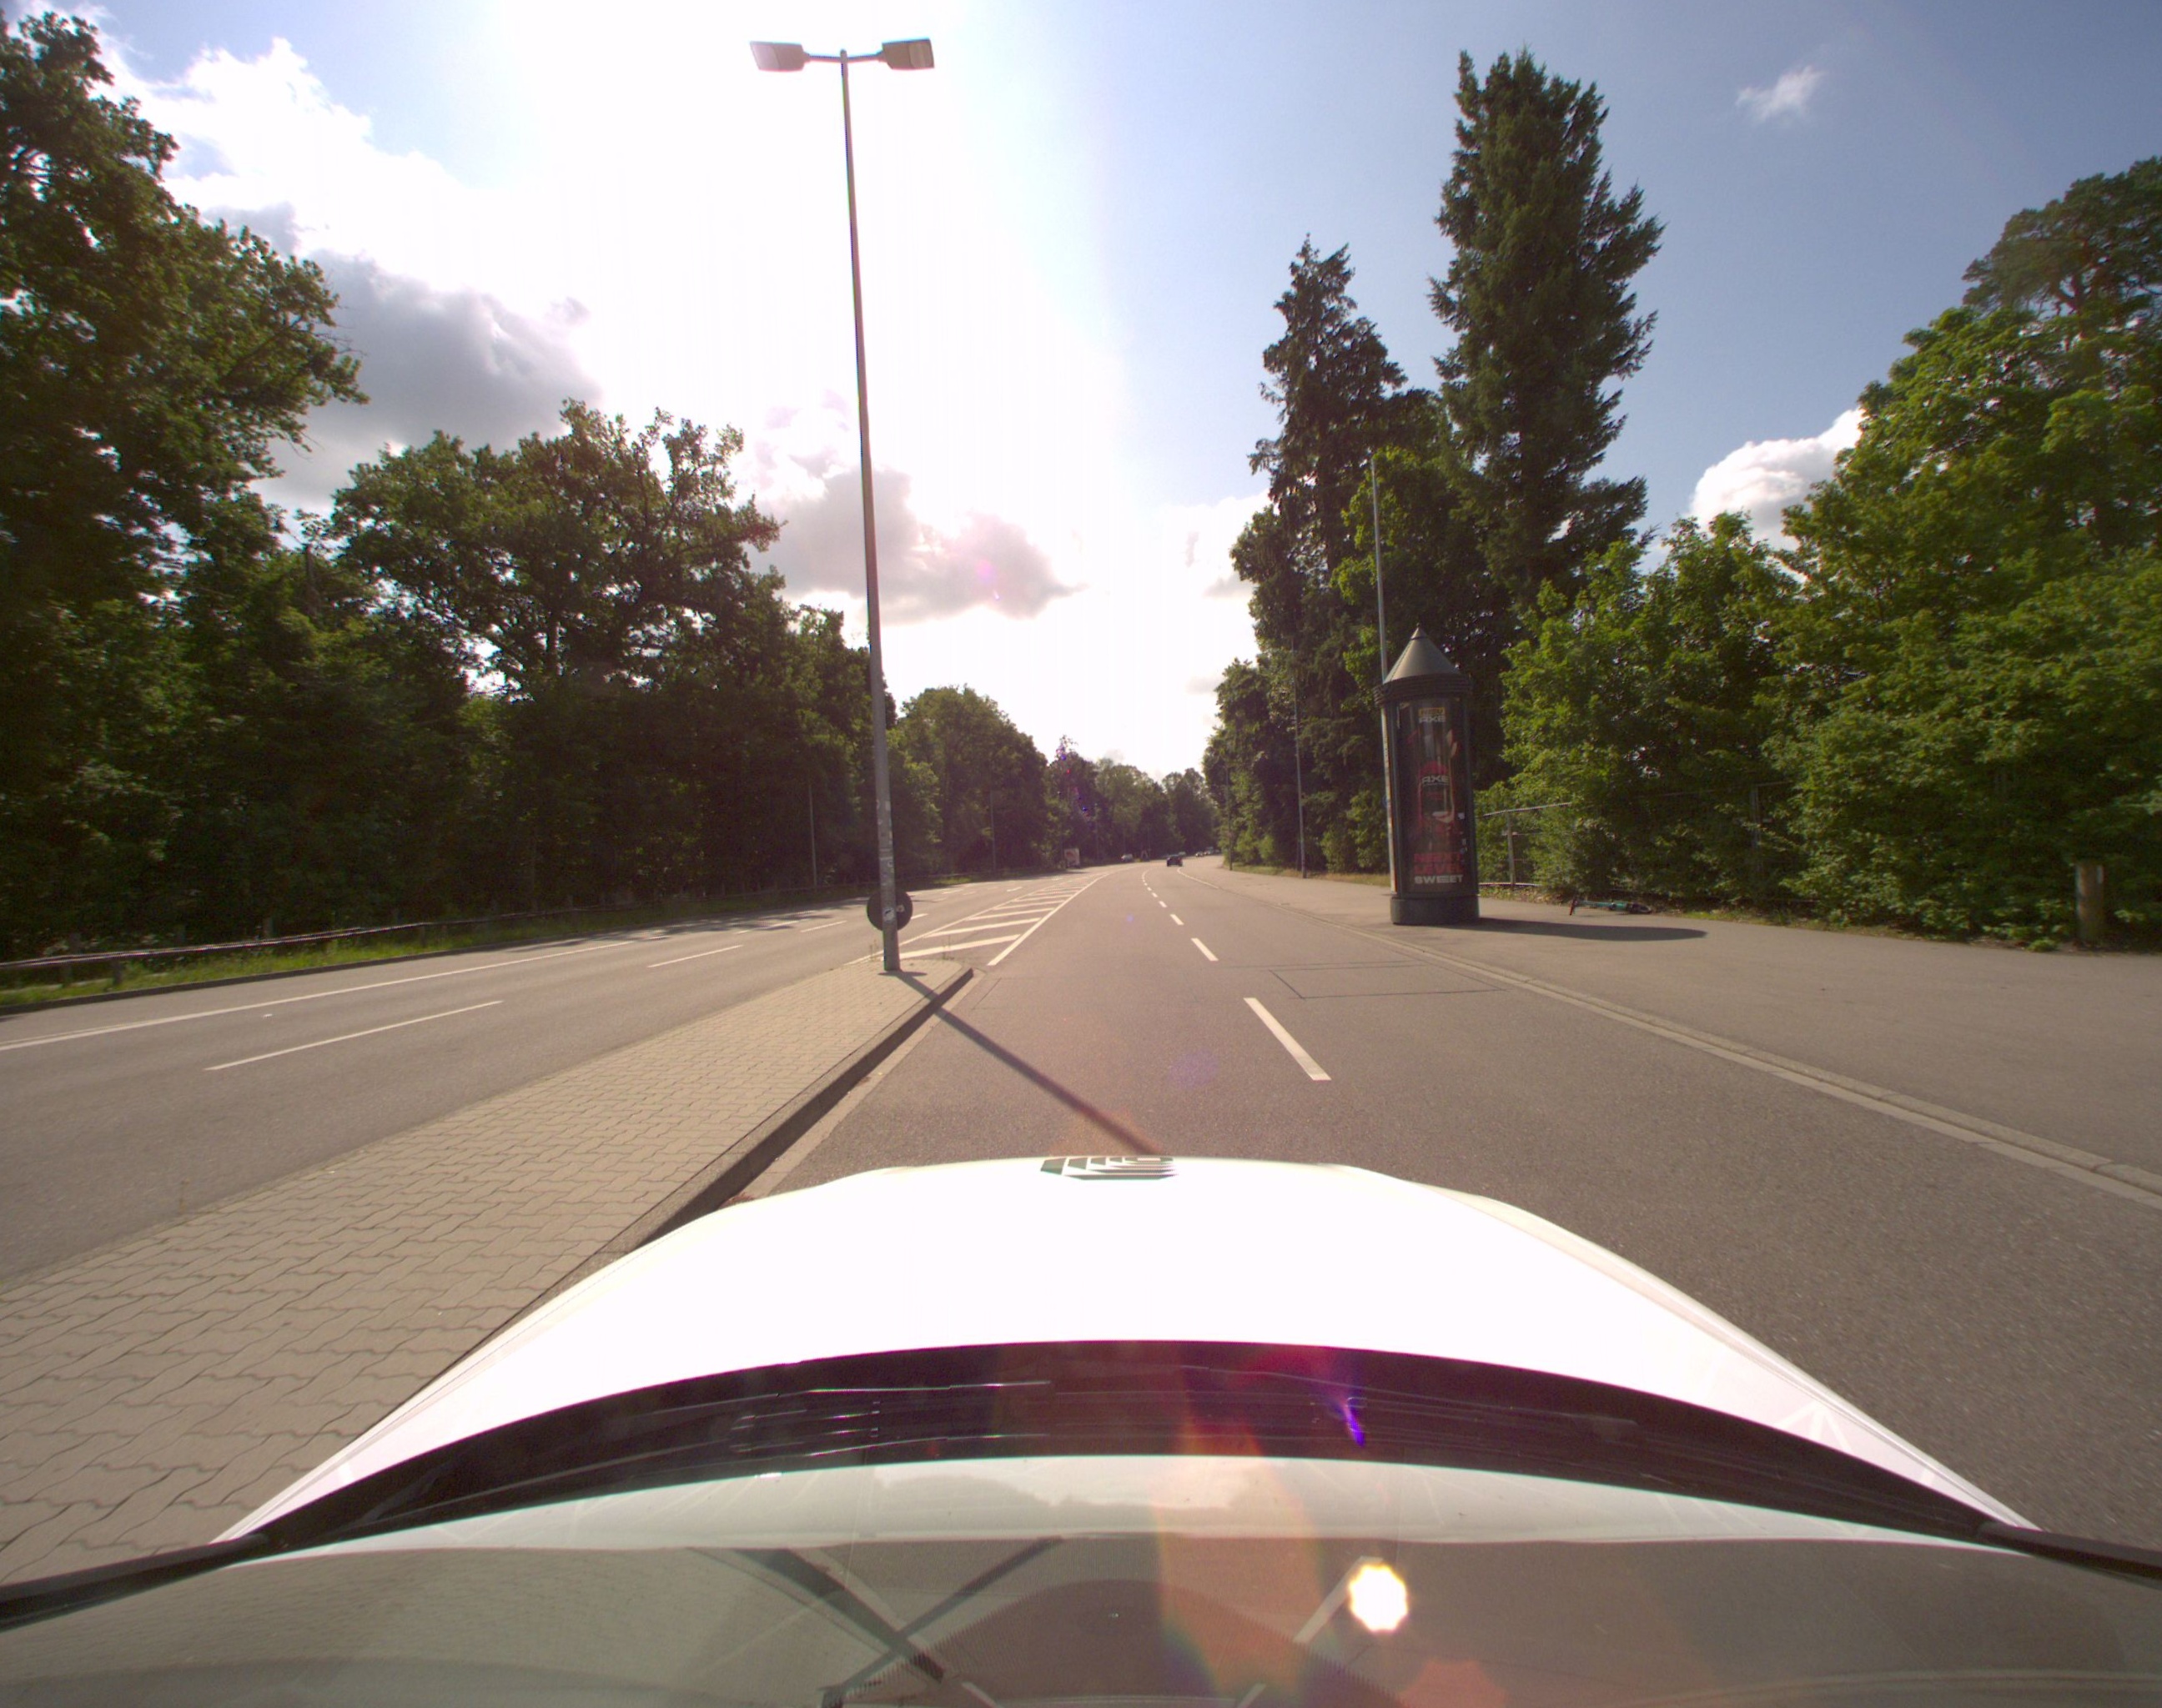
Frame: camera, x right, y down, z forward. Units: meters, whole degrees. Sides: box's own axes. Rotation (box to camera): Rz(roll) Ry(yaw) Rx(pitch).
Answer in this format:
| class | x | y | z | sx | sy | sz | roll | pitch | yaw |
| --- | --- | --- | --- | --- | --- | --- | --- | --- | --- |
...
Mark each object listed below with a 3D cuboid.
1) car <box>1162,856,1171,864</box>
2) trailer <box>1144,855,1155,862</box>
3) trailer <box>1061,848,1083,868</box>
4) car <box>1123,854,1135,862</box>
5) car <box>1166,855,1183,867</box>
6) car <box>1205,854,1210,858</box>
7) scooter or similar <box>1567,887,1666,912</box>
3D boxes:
| class | x | y | z | sx | sy | sz | roll | pitch | yaw |
| --- | --- | --- | --- | --- | --- | --- | --- | --- | --- |
| car | 20.754 | 1.416 | 197.364 | 1.912 | 1.855 | 4.008 | -2 | -1 | 7 |
| trailer | 14.261 | 0.938 | 169.973 | 1.704 | 1.355 | 3.746 | -2 | -1 | 14 |
| trailer | -1.079 | 0.473 | 99.543 | 1.981 | 2.389 | 4.011 | -2 | -1 | 9 |
| car | 8.692 | 0.731 | 147.756 | 1.493 | 1.446 | 3.542 | -2 | -1 | 14 |
| car | 11.903 | 0.842 | 103.116 | 1.586 | 1.378 | 3.991 | -2 | -1 | 14 |
| car | 38.949 | 0.629 | 250.655 | 1.495 | 1.446 | 3.537 | -2 | -1 | 8 |
| scooter or similar | 9.663 | 0.830 | 14.759 | 0.850 | 0.389 | 1.473 | 2 | -4 | 1 |
